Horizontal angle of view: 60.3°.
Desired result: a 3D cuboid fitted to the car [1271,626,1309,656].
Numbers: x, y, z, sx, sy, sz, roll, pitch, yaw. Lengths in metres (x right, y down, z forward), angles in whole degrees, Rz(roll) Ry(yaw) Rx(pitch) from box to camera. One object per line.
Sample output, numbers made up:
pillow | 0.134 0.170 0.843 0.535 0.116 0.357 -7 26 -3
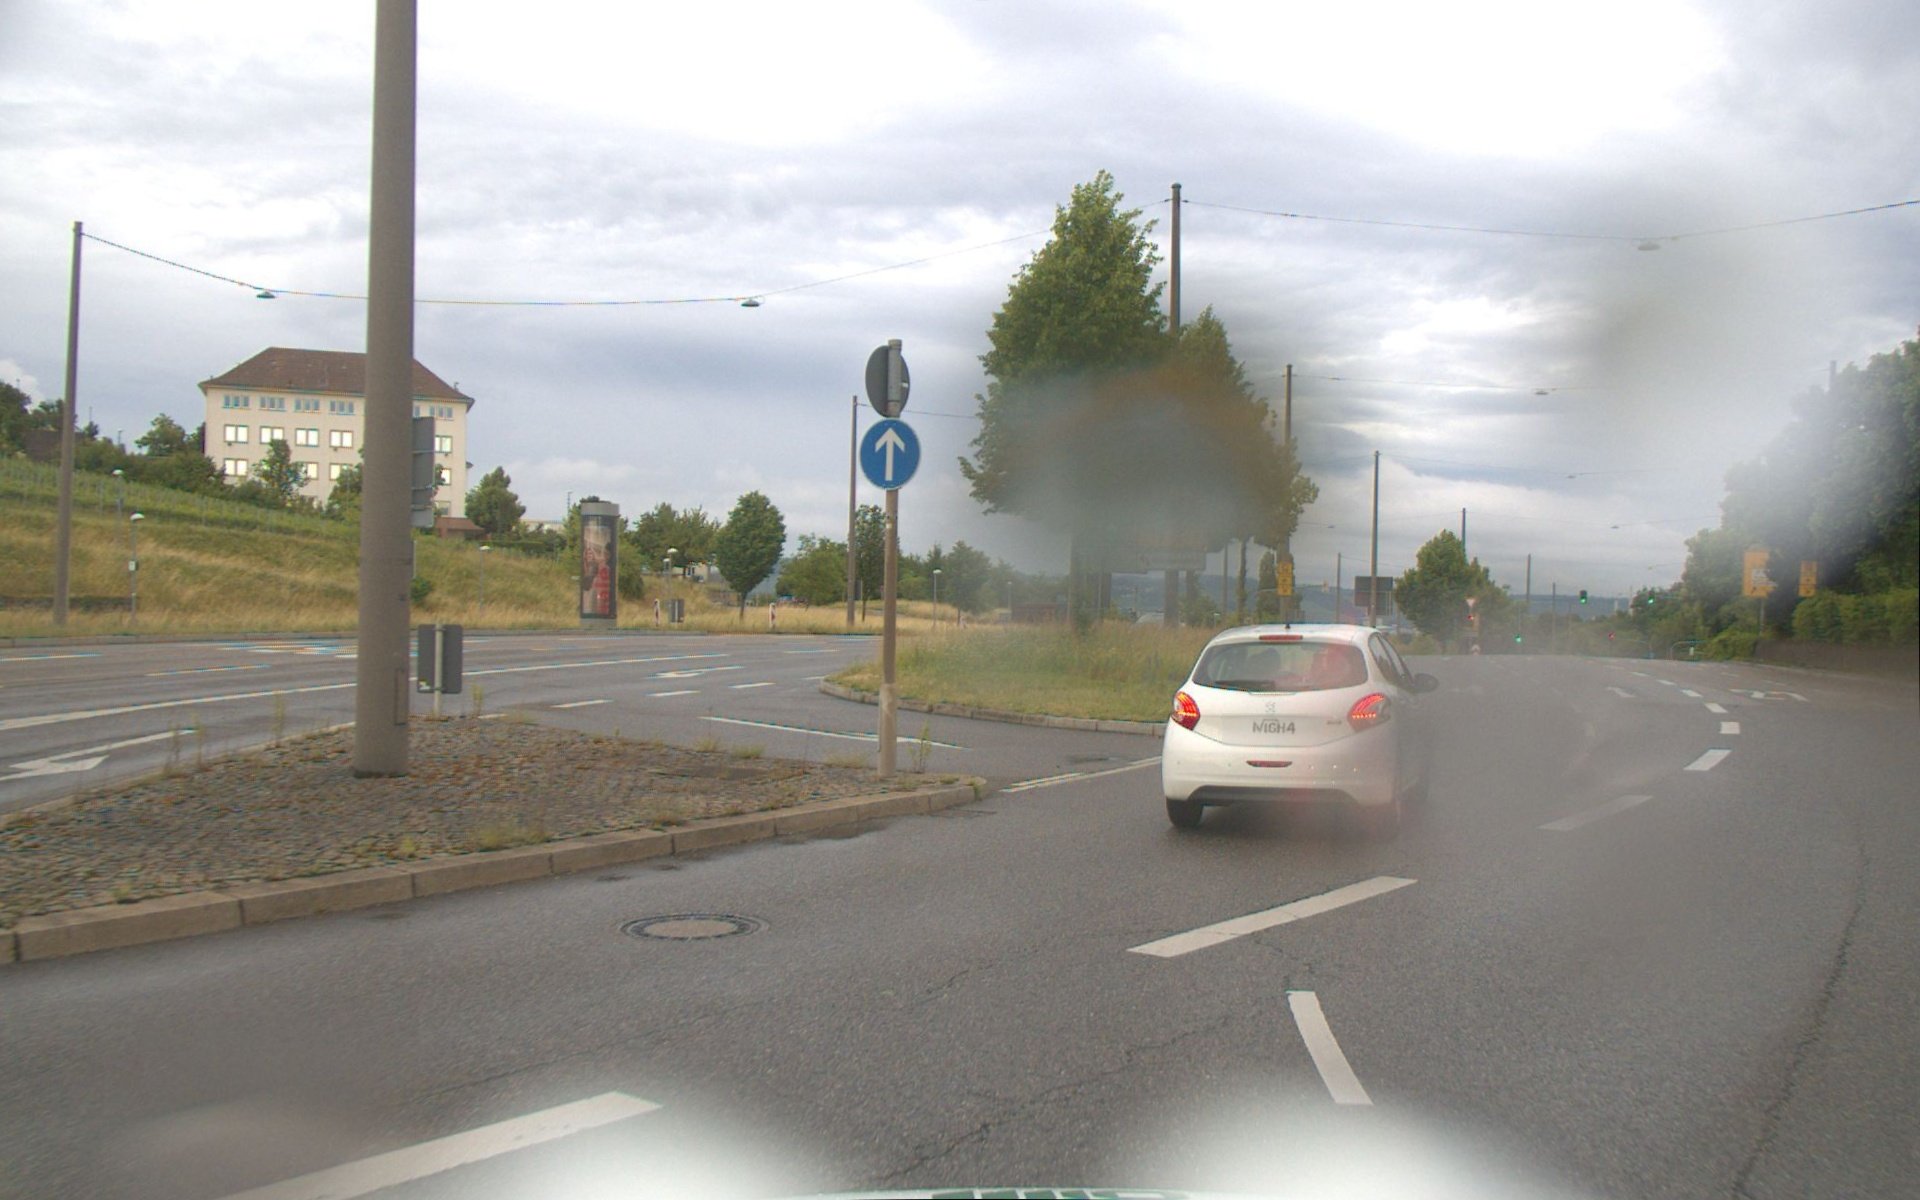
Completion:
car | 20.368 2.501 102.044 1.730 1.780 4.001 1 0 19

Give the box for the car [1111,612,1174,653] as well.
car | 7.847 1.362 70.615 1.839 1.683 4.359 1 0 18

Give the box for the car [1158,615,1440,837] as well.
car | 2.779 0.876 12.964 1.673 1.465 3.691 -1 -1 19
